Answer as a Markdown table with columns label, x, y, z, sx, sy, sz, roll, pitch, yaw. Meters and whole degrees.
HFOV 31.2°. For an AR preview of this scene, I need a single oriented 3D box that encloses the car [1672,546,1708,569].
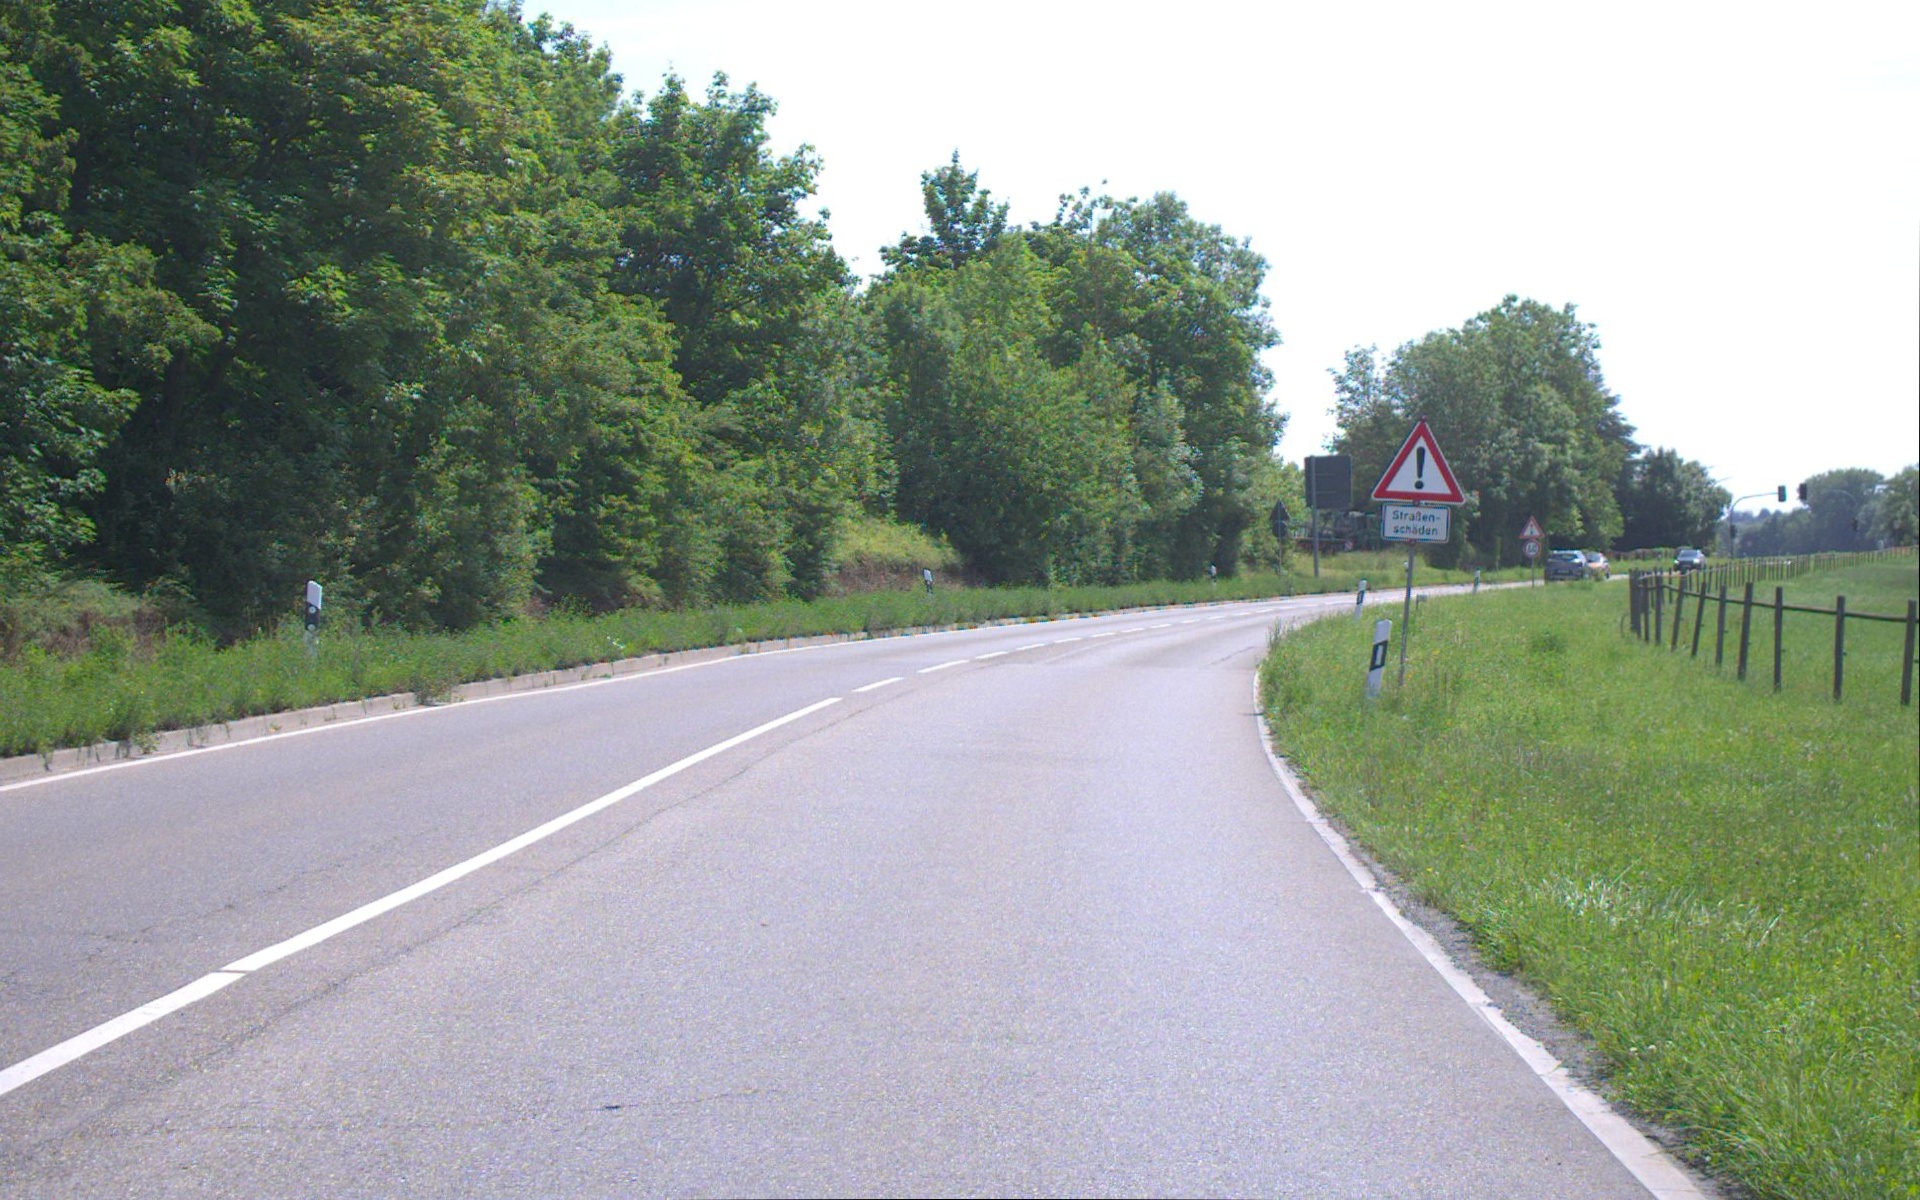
| label | x | y | z | sx | sy | sz | roll | pitch | yaw |
| --- | --- | --- | --- | --- | --- | --- | --- | --- | --- |
| car | 49.220 | -2.870 | 231.886 | 1.823 | 1.464 | 3.996 | 2 | 1 | 20 |

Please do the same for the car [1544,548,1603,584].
| label | x | y | z | sx | sy | sz | roll | pitch | yaw |
| --- | --- | --- | --- | --- | --- | --- | --- | --- | --- |
| car | 27.687 | -1.519 | 155.100 | 1.995 | 1.568 | 3.996 | 2 | 1 | 19 |

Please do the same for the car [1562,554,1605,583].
| label | x | y | z | sx | sy | sz | roll | pitch | yaw |
| --- | --- | --- | --- | --- | --- | --- | --- | --- | --- |
| car | 34.014 | -1.720 | 187.458 | 1.822 | 1.464 | 3.997 | 2 | 1 | 17 |
